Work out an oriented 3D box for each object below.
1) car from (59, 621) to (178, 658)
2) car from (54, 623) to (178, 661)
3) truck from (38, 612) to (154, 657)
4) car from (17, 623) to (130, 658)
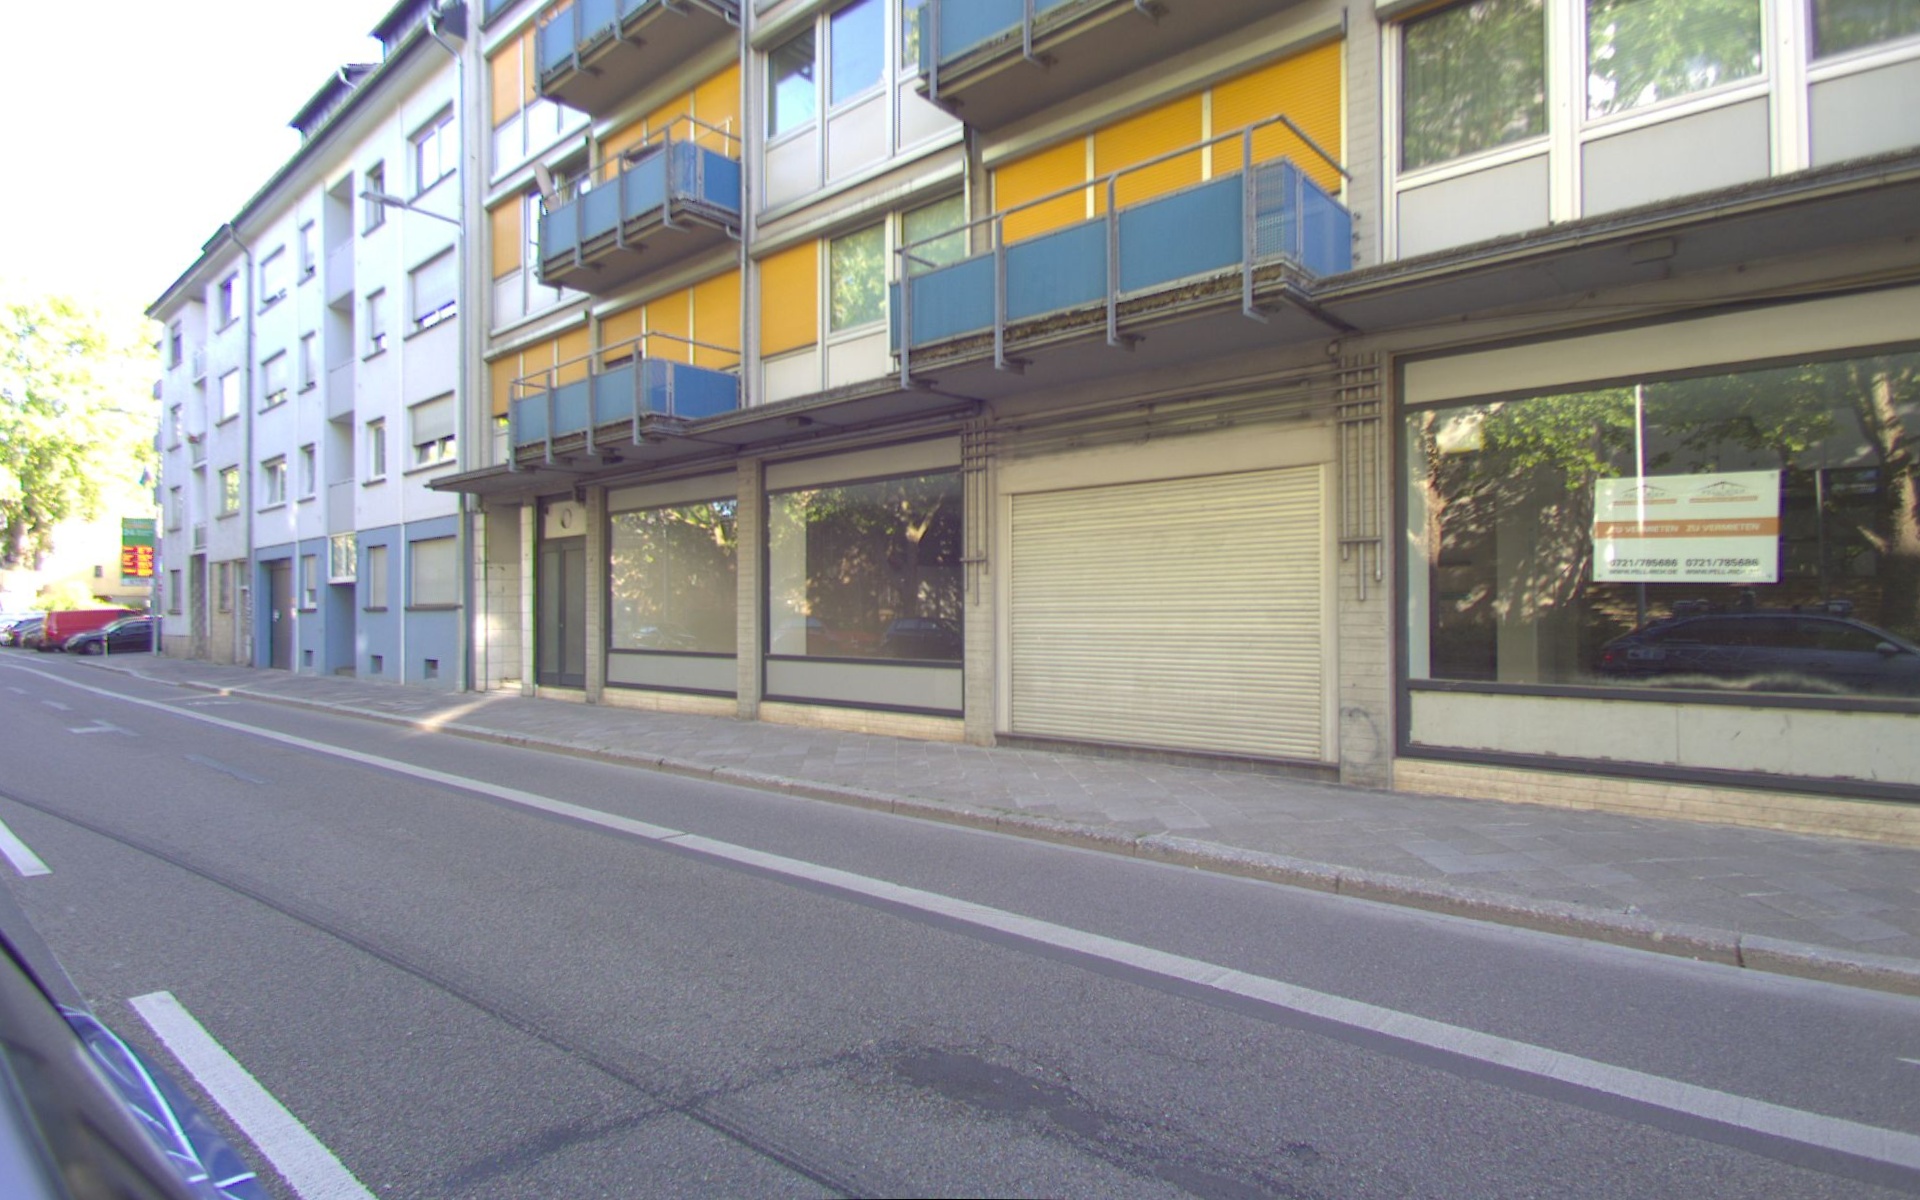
[{"bbox_3d":[-38.124,1.766,45.903,1.761,1.514,3.944,-1,0,42],"label":"car"},{"bbox_3d":[-36.643,1.769,44.015,1.761,1.468,3.944,-1,0,42],"label":"car"},{"bbox_3d":[-40.515,1.578,47.494,1.761,1.951,3.944,-1,0,42],"label":"truck"},{"bbox_3d":[-42.925,1.910,49.041,1.761,1.514,3.944,-1,0,42],"label":"car"}]
